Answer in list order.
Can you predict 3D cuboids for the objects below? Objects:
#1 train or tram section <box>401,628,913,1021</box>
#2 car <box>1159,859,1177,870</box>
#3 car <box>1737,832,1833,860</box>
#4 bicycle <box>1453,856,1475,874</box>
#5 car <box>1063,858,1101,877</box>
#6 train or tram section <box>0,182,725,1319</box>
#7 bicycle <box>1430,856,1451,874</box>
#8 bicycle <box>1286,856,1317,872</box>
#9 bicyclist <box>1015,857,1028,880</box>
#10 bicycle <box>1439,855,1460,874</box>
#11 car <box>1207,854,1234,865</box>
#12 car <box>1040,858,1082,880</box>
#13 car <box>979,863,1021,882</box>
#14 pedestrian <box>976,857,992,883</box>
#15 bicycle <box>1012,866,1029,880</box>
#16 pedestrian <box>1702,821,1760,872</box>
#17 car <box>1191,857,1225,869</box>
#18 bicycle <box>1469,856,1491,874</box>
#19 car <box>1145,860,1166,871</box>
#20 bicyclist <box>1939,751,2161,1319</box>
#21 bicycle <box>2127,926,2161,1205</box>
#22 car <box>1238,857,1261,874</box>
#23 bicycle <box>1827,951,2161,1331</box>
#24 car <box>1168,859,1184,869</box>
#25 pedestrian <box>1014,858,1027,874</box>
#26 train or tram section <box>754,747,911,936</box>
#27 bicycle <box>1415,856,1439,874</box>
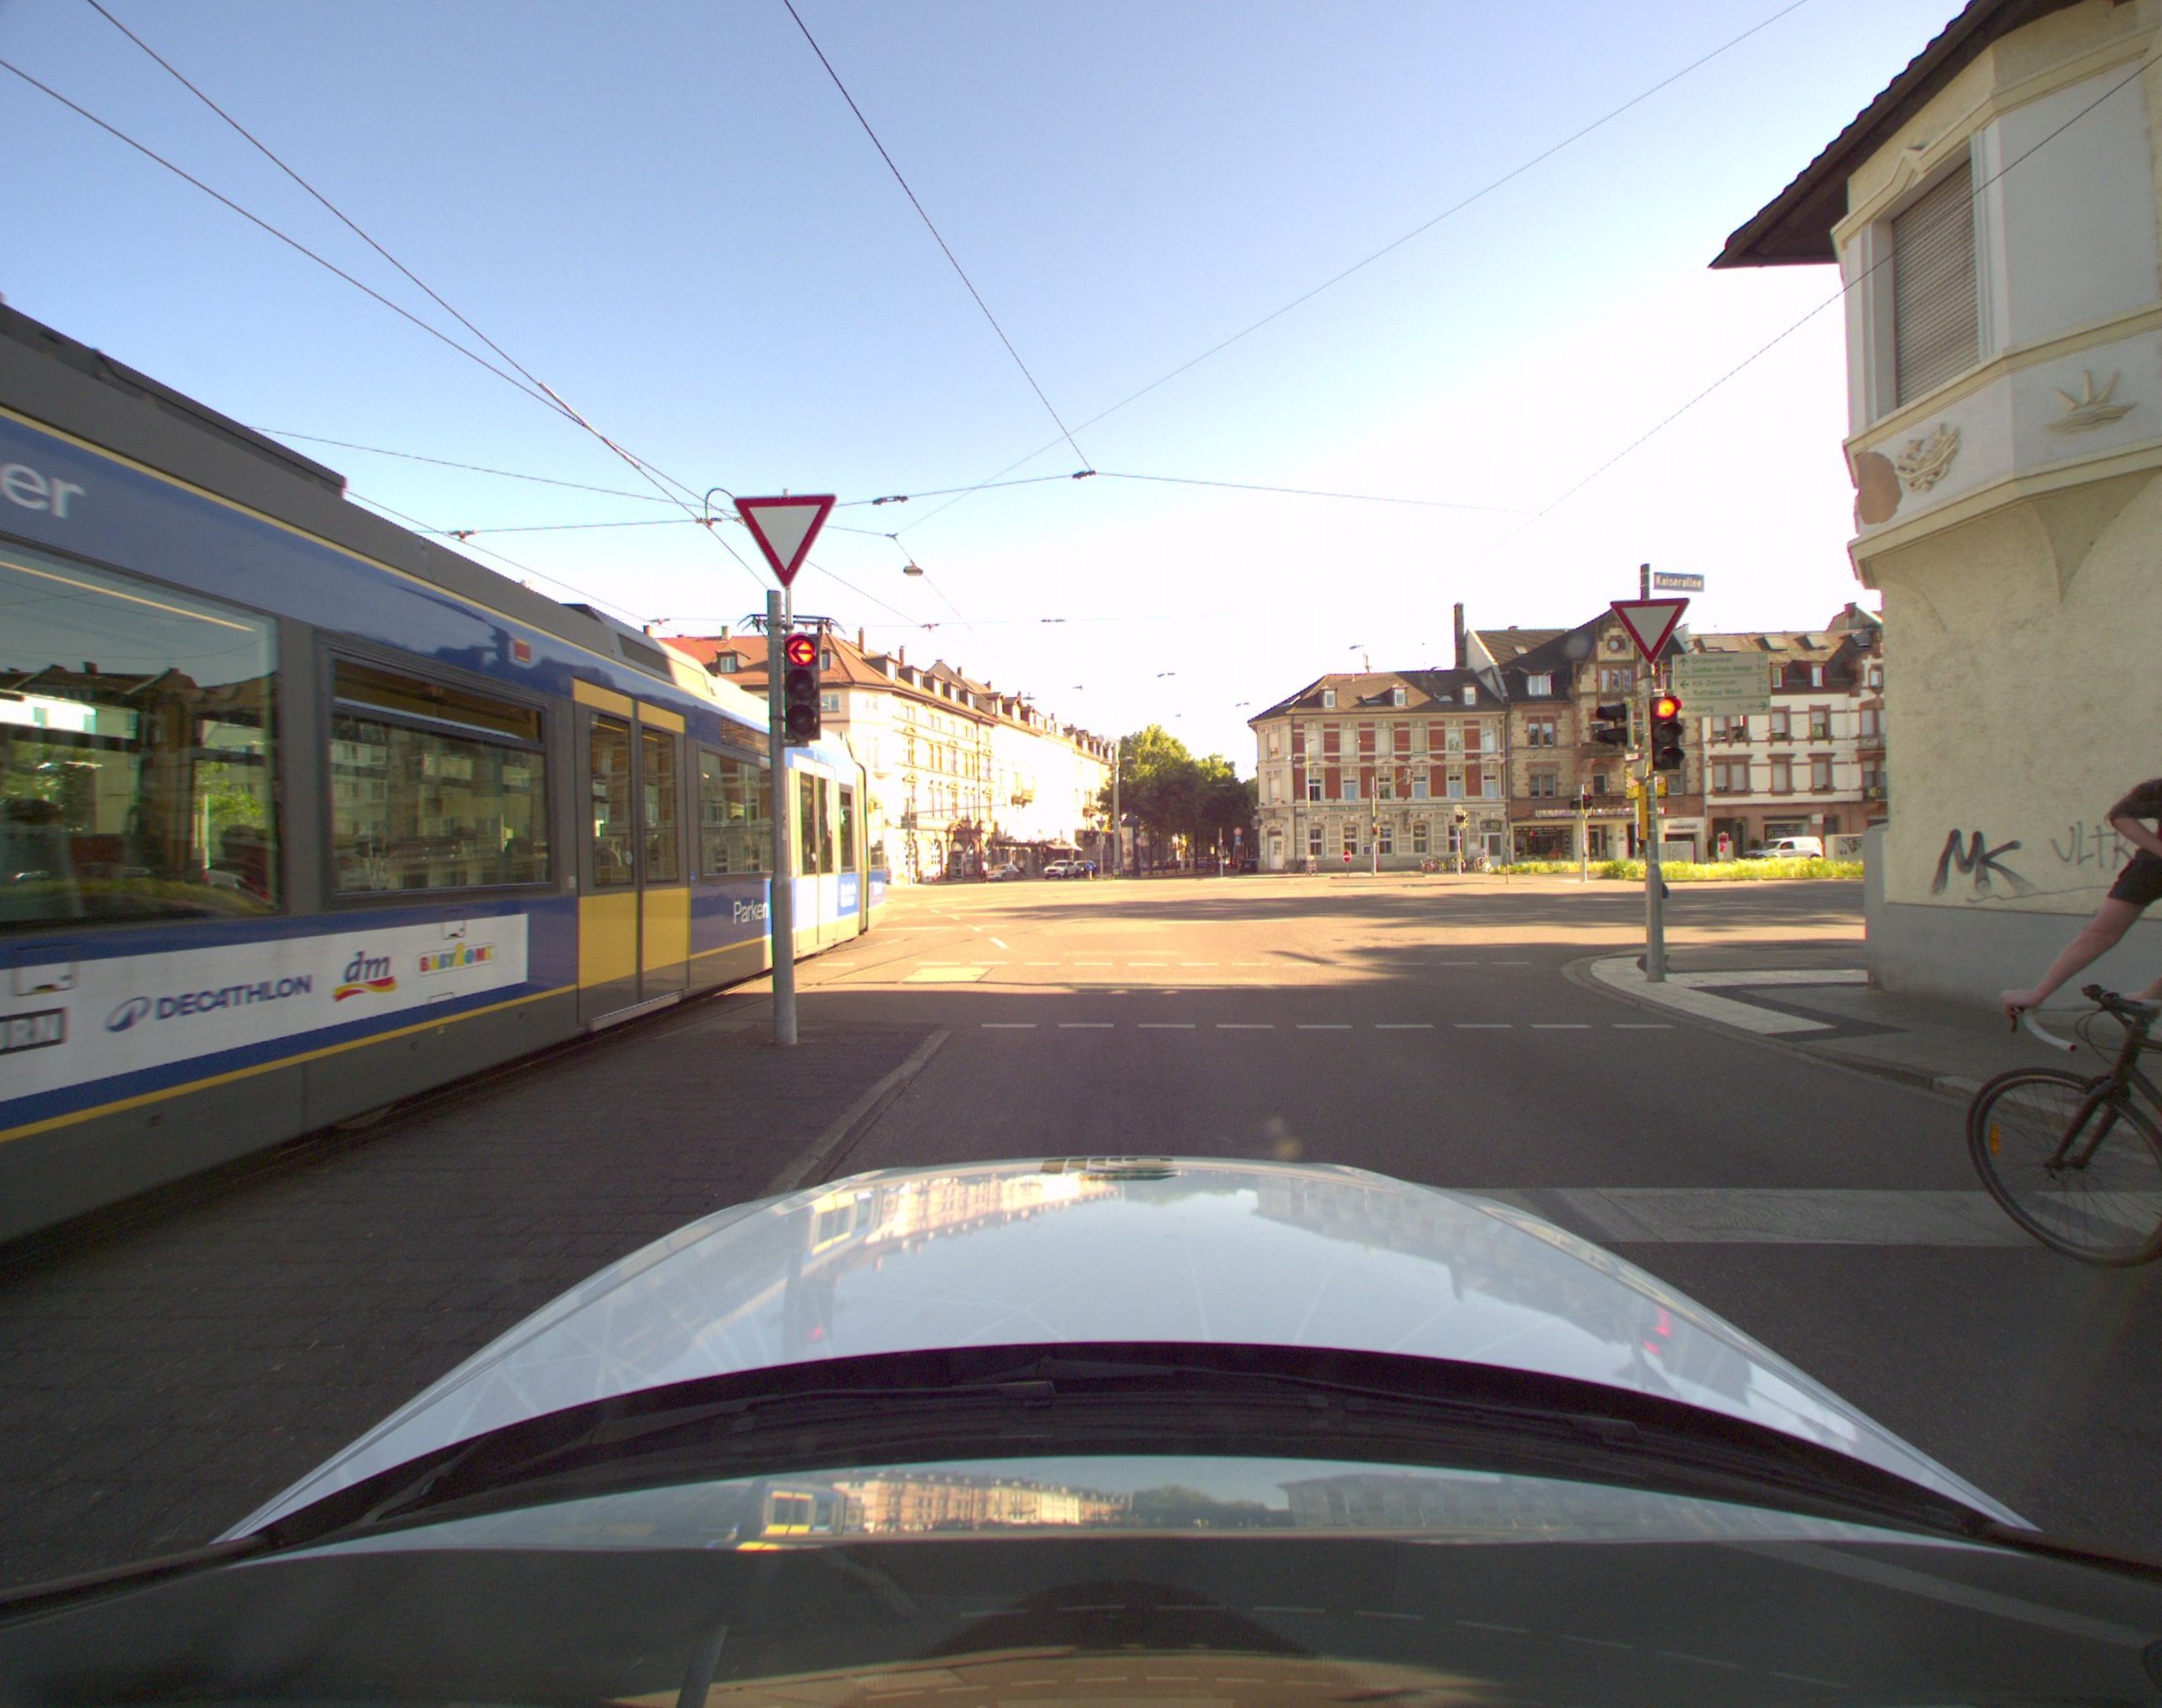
[{"bbox_3d":[-4.716,-0.282,11.620,2.806,3.499,8.460,-1,0,0],"label":"train or tram section"},{"bbox_3d":[13.922,1.699,130.340,1.822,1.552,4.412,-2,0,19],"label":"car"},{"bbox_3d":[45.366,-0.485,52.562,4.317,1.640,2.152,-2,0,1],"label":"car"},{"bbox_3d":[24.786,0.706,52.697,0.615,1.143,2.178,-2,0,7],"label":"bicycle"},{"bbox_3d":[0.125,1.214,74.023,1.977,1.612,4.413,-2,0,20],"label":"car"},{"bbox_3d":[-4.716,-0.306,3.454,2.805,3.499,7.961,-1,0,0],"label":"train or tram section"},{"bbox_3d":[23.286,0.688,52.845,0.615,1.143,2.178,-2,0,7],"label":"bicycle"},{"bbox_3d":[15.508,0.719,57.197,2.081,1.124,0.366,0,-1,-3],"label":"bicycle"},{"bbox_3d":[-4.804,1.128,65.347,0.674,1.820,1.075,-2,0,14],"label":"bicyclist"},{"bbox_3d":[23.866,0.668,52.792,0.615,1.143,2.178,-2,0,7],"label":"bicycle"},{"bbox_3d":[22.840,0.968,133.310,3.948,1.706,2.013,-2,0,32],"label":"car"},{"bbox_3d":[-1.600,1.247,67.546,1.977,1.684,4.413,-2,0,20],"label":"car"},{"bbox_3d":[-6.675,1.518,67.389,1.883,1.455,4.020,-2,0,20],"label":"car"},{"bbox_3d":[-6.782,1.108,56.844,1.046,1.744,0.806,-1,0,-10],"label":"pedestrian"},{"bbox_3d":[-4.808,1.508,65.303,0.675,1.066,2.133,-2,0,14],"label":"bicycle"},{"bbox_3d":[27.121,-0.311,34.007,1.314,2.044,1.307,-2,0,1],"label":"pedestrian"},{"bbox_3d":[17.959,1.307,115.176,4.335,1.612,2.012,-2,0,28],"label":"car"},{"bbox_3d":[25.763,0.685,52.607,0.606,1.136,2.139,-2,0,7],"label":"bicycle"},{"bbox_3d":[11.264,1.729,122.608,1.977,1.612,4.413,-2,0,20],"label":"car"},{"bbox_3d":[3.606,0.556,2.601,0.559,1.754,1.102,-2,0,4],"label":"bicyclist"},{"bbox_3d":[4.542,0.853,2.453,0.516,1.116,1.815,-2,0,4],"label":"bicycle"},{"bbox_3d":[17.024,1.137,82.224,1.978,1.585,4.017,-2,0,16],"label":"car"},{"bbox_3d":[3.621,0.943,2.678,0.642,1.010,1.930,-2,0,4],"label":"bicycle"},{"bbox_3d":[15.840,1.718,136.175,1.750,1.549,4.411,-2,0,18],"label":"car"},{"bbox_3d":[-5.897,1.184,79.440,0.921,1.535,1.142,-1,0,16],"label":"pedestrian"},{"bbox_3d":[-6.172,-0.240,21.253,2.775,3.499,11.969,-1,0,-15],"label":"train or tram section"},{"bbox_3d":[22.508,0.697,52.994,0.802,1.143,2.178,-2,0,7],"label":"bicycle"}]
